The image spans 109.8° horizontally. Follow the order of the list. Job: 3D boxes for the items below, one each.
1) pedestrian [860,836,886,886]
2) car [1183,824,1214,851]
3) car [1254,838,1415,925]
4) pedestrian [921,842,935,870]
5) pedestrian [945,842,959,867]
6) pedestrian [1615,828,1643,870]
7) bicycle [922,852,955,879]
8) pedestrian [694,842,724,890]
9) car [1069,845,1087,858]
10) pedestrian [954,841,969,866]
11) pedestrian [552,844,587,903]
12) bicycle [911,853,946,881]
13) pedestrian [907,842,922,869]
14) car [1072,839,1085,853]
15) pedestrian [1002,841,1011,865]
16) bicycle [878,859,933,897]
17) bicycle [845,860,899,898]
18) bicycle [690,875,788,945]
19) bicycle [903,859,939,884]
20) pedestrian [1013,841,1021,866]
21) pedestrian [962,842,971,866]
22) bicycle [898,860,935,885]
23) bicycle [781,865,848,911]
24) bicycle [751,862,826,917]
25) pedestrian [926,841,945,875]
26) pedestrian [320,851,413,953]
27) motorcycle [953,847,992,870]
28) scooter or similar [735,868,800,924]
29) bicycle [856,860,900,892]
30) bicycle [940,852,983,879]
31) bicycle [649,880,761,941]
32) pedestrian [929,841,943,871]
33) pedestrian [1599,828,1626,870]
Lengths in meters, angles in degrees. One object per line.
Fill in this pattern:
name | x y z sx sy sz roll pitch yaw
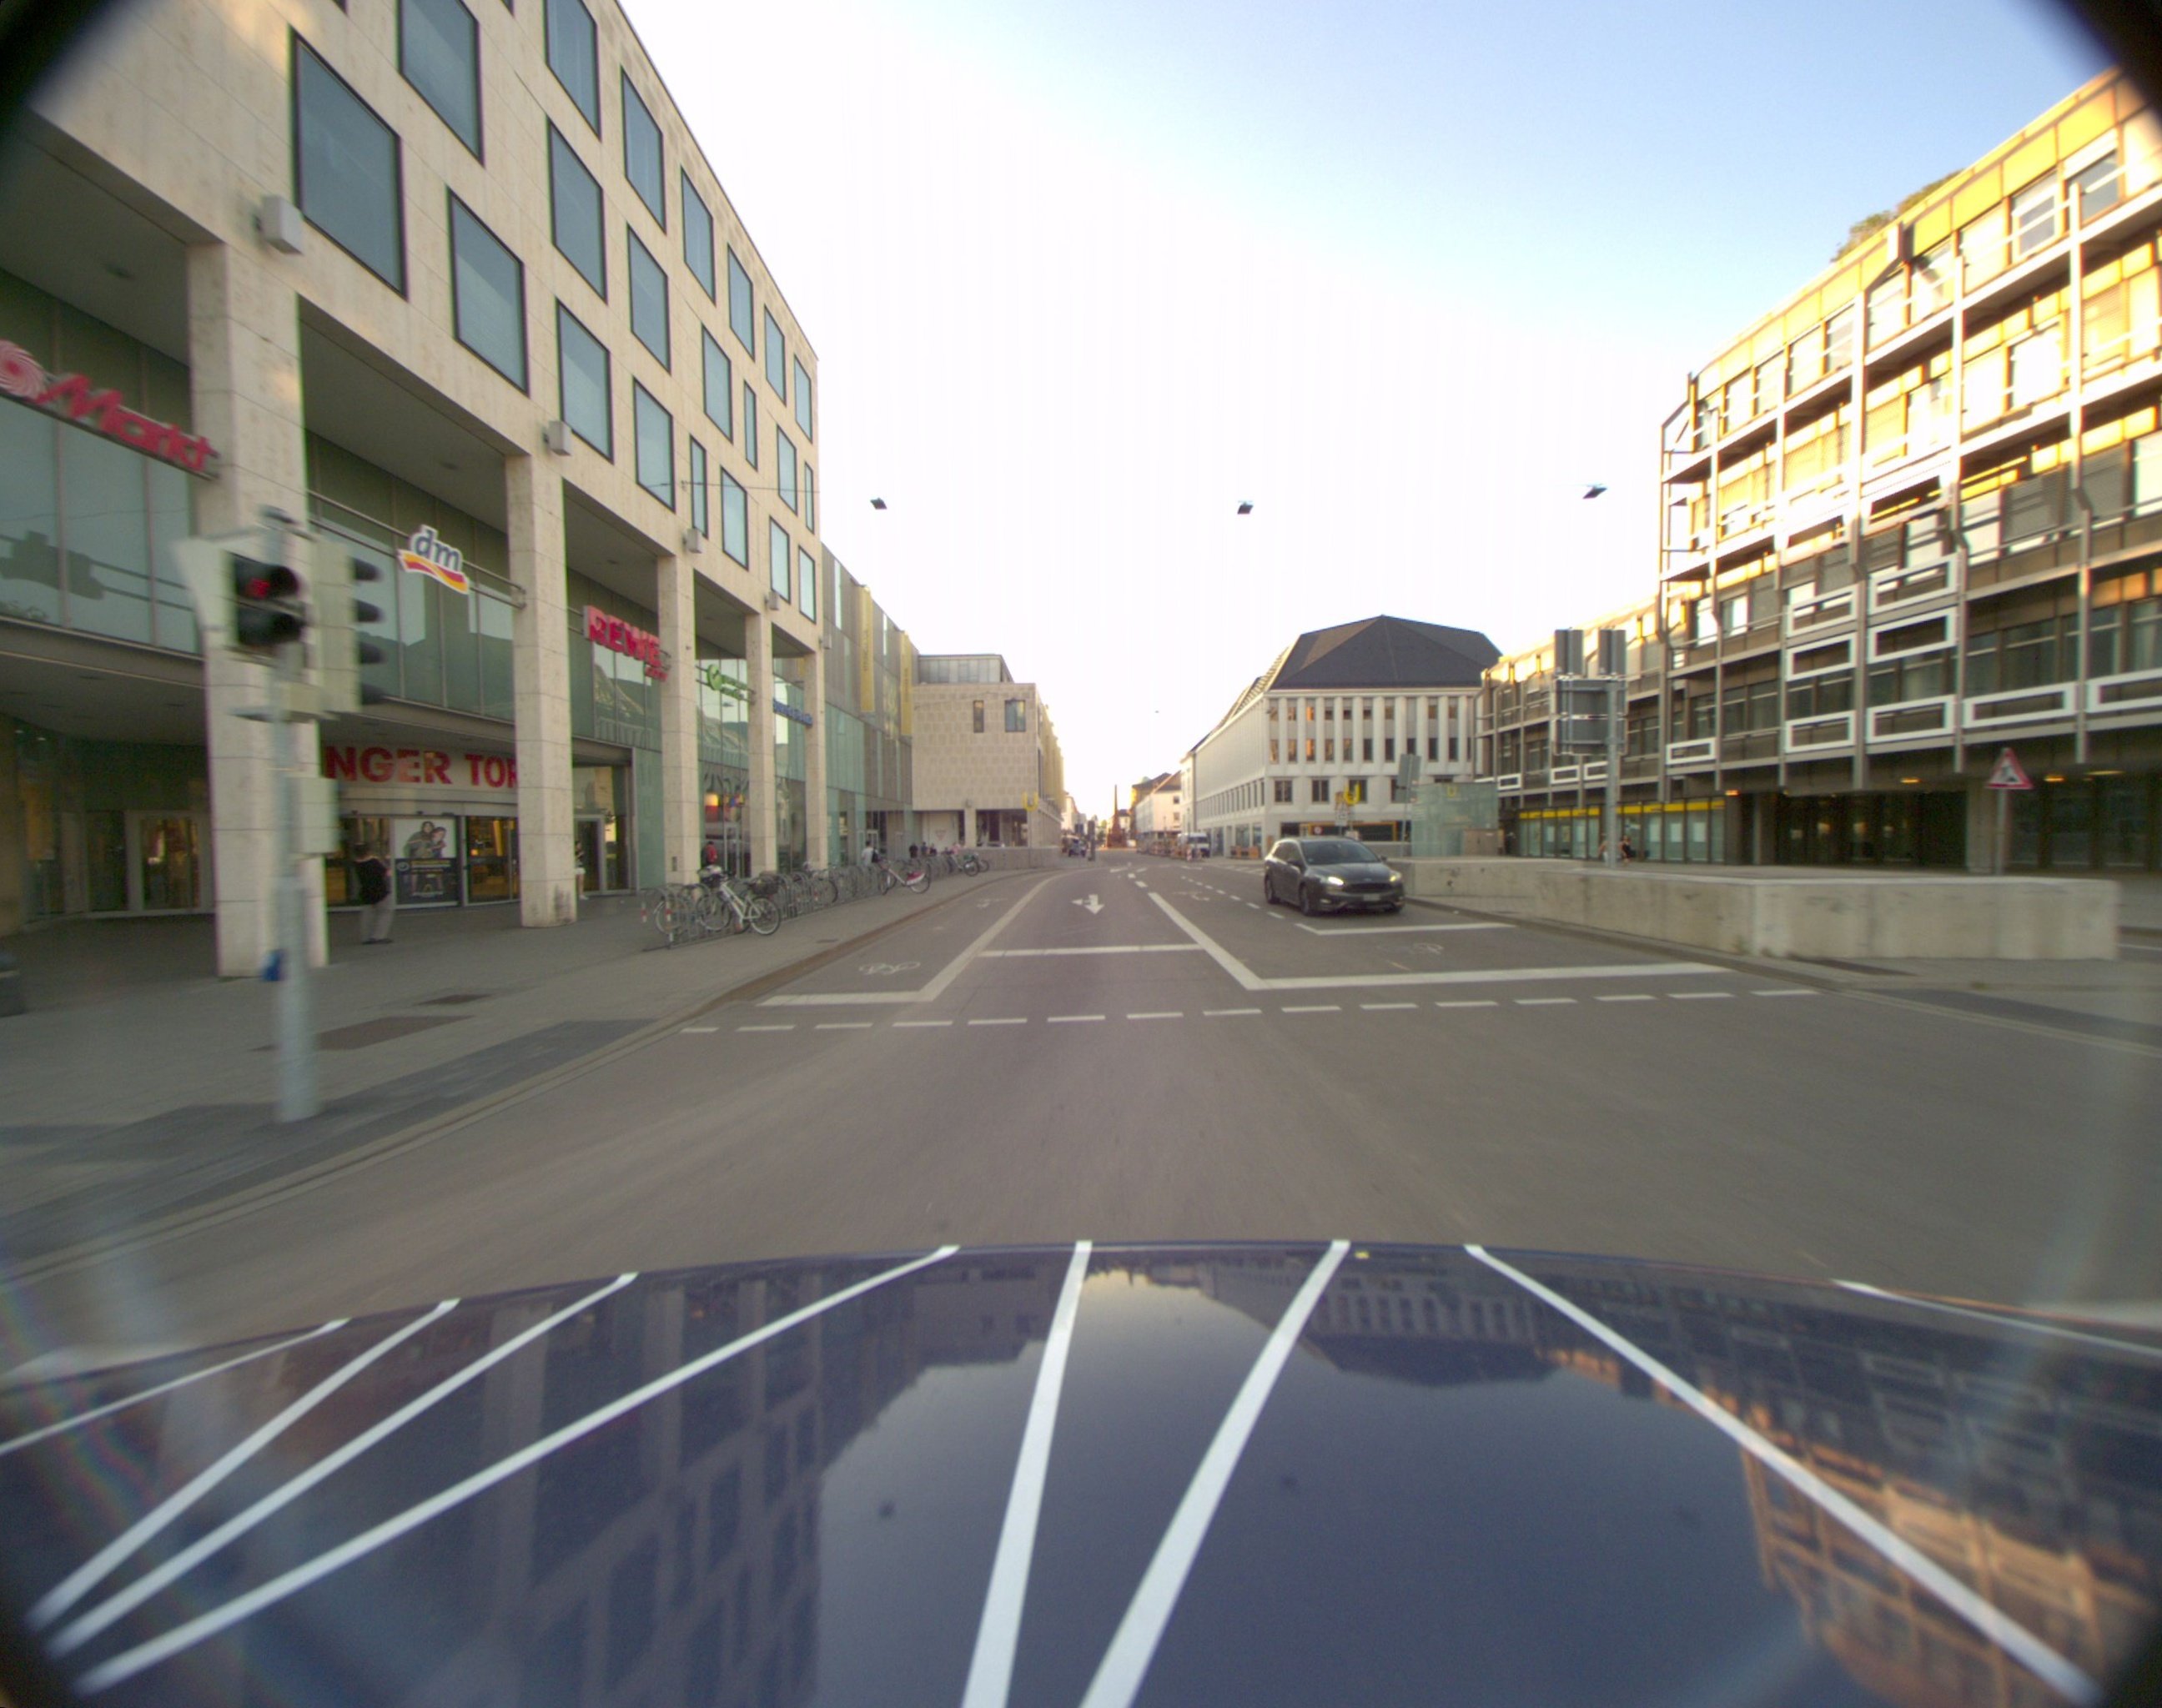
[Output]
pedestrian | -7.038 0.223 25.711 0.630 1.683 0.706 -2 2 -30
car | 11.635 -1.634 75.551 2.141 2.541 6.049 -1 1 0
car | 4.943 0.436 15.501 1.762 1.454 4.379 -2 1 0
pedestrian | -9.517 0.120 47.205 0.698 1.686 0.820 -1 2 -4
pedestrian | -9.027 0.004 53.224 0.793 1.734 0.656 -1 2 3
pedestrian | 21.693 -0.193 30.076 0.616 1.630 0.702 -1 2 0
bicycle | -6.649 0.545 35.448 1.345 1.157 0.518 -3 1 -1
pedestrian | -12.966 0.393 26.495 0.629 1.642 0.708 -1 1 1
car | -0.276 -0.300 83.458 1.798 1.365 3.670 -1 1 2
pedestrian | -8.245 -0.044 52.395 0.793 1.734 0.941 -1 2 3
pedestrian | -14.540 0.531 21.598 0.706 1.642 0.631 1 2 42
bicycle | -6.692 0.568 33.363 1.345 1.157 0.518 -3 1 -1
pedestrian | -10.302 0.071 47.076 0.740 1.638 0.820 -1 2 -4
car | -0.388 -1.240 115.862 1.798 2.199 3.670 -1 1 2
pedestrian | -5.357 -0.057 54.663 0.516 1.734 0.492 -1 2 3
bicycle | -5.373 0.732 23.274 1.518 1.057 0.466 -3 1 1
bicycle | -6.781 0.801 24.683 1.518 1.118 0.580 -3 1 4
bicycle | -6.017 0.974 13.394 1.482 1.177 0.548 0 1 5
bicycle | -6.618 0.730 31.439 1.345 0.927 0.518 -3 1 -1
pedestrian | -4.458 -0.063 52.864 0.454 1.734 0.492 -1 2 3
pedestrian | -8.065 0.000 53.521 0.494 1.734 0.656 -1 2 3
bicycle | -6.673 0.737 30.793 1.345 0.927 0.518 -3 1 -1
bicycle | -7.091 0.900 20.265 1.519 1.099 0.552 -3 1 -2
bicycle | -7.158 0.859 18.646 1.518 1.220 0.618 -3 1 0
pedestrian | -7.136 0.206 37.328 0.809 1.633 0.645 -1 2 -18
pedestrian | -11.801 0.773 12.571 0.793 1.629 0.708 -1 2 0
motorcycle | -5.761 0.233 40.477 2.007 1.217 0.480 -1 2 -3
scooter or similar | -6.917 0.921 16.791 1.197 1.192 0.492 -1 1 -4
bicycle | -7.301 0.793 27.360 1.447 1.059 0.580 -3 1 -10
bicycle | -5.429 0.517 34.611 1.838 1.140 0.466 -3 1 1
bicycle | -6.932 1.033 14.075 1.774 1.072 0.482 -1 1 -7
pedestrian | -8.804 0.122 46.066 0.619 1.770 0.812 -1 2 3
pedestrian | 21.055 -0.194 30.099 0.670 1.630 0.584 -1 2 0
